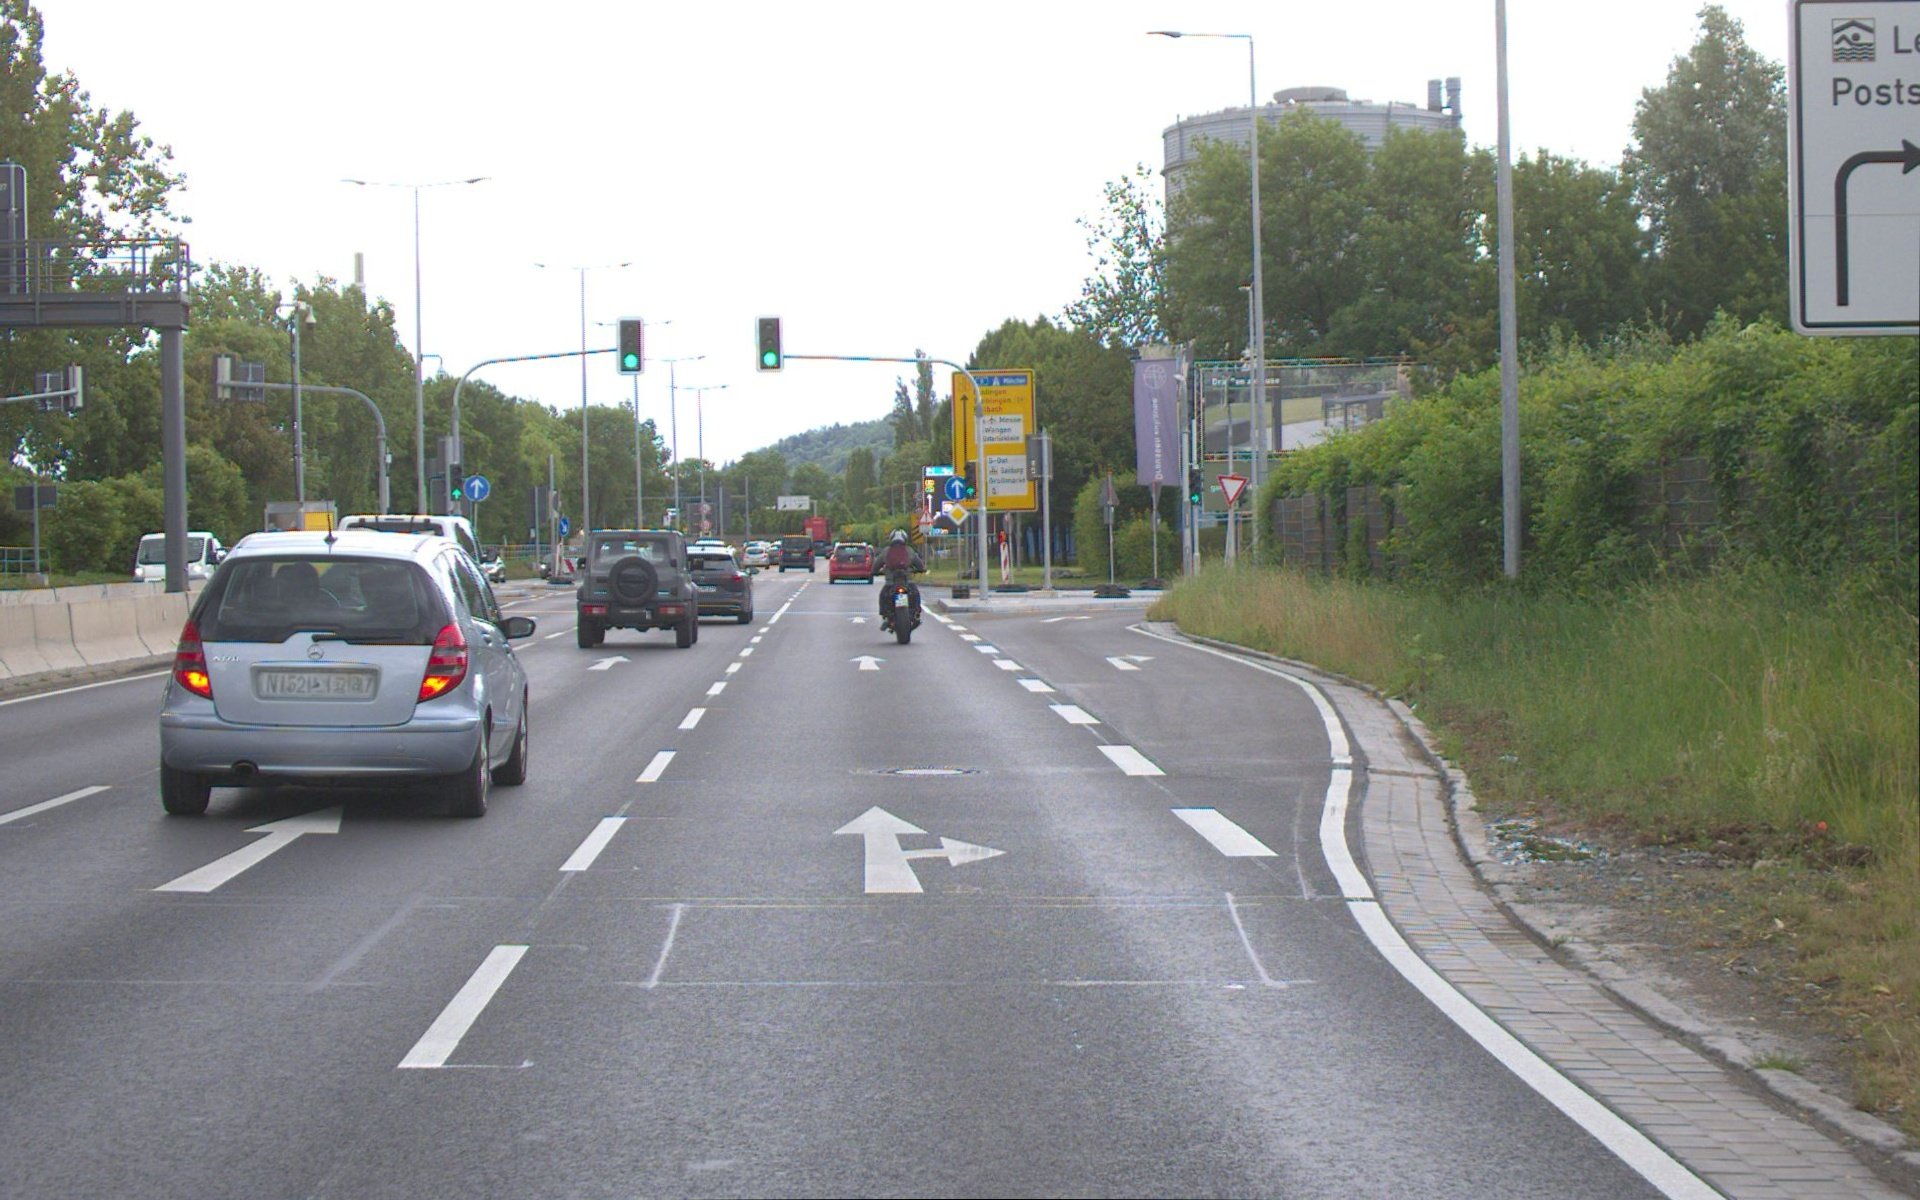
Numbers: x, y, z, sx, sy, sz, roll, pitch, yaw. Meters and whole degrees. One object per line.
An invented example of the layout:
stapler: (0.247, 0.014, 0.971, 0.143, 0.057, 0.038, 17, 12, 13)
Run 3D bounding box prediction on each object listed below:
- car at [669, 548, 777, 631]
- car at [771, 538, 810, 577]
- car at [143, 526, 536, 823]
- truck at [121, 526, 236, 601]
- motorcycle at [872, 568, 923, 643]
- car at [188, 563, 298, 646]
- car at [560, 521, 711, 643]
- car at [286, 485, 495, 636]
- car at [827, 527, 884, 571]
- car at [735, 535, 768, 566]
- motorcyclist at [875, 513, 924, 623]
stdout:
car: (-4.450, -0.223, 64.966, 1.840, 1.459, 4.001, 1, 1, -2)
car: (-9.160, -2.306, 186.318, 1.993, 2.007, 4.001, 1, 1, -2)
car: (-3.515, 0.352, 20.125, 1.710, 1.525, 4.001, 1, 1, -2)
truck: (-22.091, -1.070, 97.434, 2.204, 2.007, 6.303, 1, 1, -4)
motorcycle: (-0.910, 0.070, 50.854, 0.706, 1.036, 2.027, 1, 1, 0)
car: (-18.580, 0.080, 89.309, 1.993, 2.007, 4.682, 1, 1, -2)
car: (-4.701, -0.301, 50.300, 1.907, 1.678, 4.001, 1, 1, -2)
car: (-7.739, -0.573, 47.169, 2.214, 1.919, 5.003, 1, 1, -2)
car: (-3.891, -1.896, 127.762, 1.993, 1.546, 4.001, 1, 1, -3)
car: (-13.772, -3.283, 226.939, 1.993, 2.007, 4.000, 1, 1, -1)
motorcyclist: (-0.897, -0.482, 50.924, 0.685, 1.604, 0.845, 1, 1, 0)
